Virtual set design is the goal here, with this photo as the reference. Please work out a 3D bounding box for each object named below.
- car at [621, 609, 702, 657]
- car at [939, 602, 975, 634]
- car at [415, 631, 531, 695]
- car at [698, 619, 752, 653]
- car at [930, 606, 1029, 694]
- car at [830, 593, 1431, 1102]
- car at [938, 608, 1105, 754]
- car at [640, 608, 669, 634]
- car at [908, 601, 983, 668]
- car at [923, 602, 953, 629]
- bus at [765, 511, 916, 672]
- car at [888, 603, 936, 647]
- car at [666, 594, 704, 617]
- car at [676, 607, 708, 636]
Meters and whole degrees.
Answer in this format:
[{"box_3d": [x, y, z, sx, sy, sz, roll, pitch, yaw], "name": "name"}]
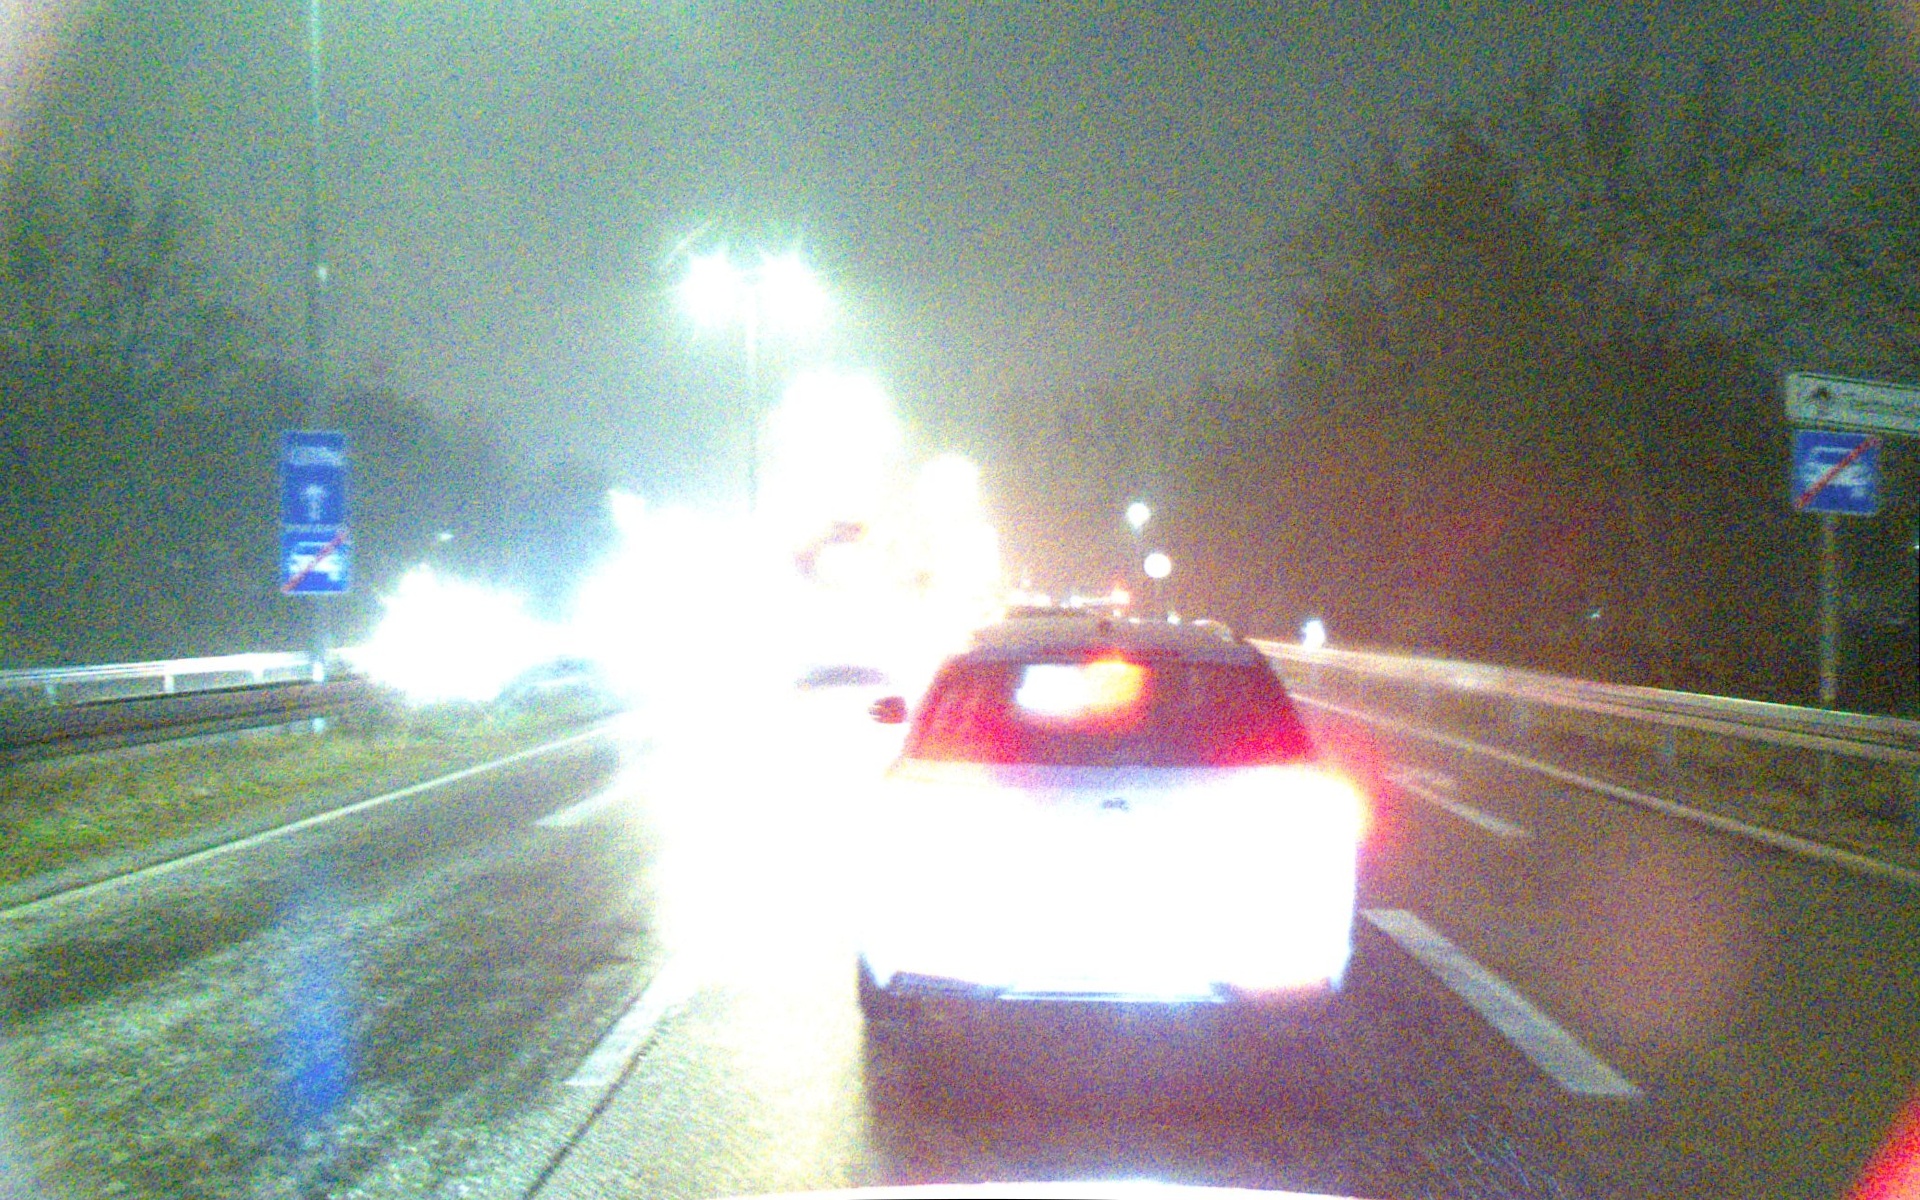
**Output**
[{"box_3d": [-9.244, 1.001, 51.602, 1.577, 1.406, 4.746, 0, 0, 1], "name": "car"}, {"box_3d": [-0.181, 0.912, 87.141, 1.783, 1.618, 3.775, -1, 0, -1], "name": "car"}, {"box_3d": [-12.372, 1.574, 42.258, 1.577, 1.406, 4.165, -3, 0, 1], "name": "car"}, {"box_3d": [-11.272, 1.710, 79.562, 1.817, 1.502, 4.779, -1, 0, 0], "name": "car"}, {"box_3d": [0.316, 0.911, 31.772, 1.704, 1.592, 3.775, 0, 0, -2], "name": "car"}, {"box_3d": [0.556, 0.746, 7.219, 1.784, 1.510, 4.568, 0, 0, 1], "name": "car"}, {"box_3d": [0.609, 0.840, 19.263, 1.696, 1.474, 4.724, 0, 0, -1], "name": "car"}, {"box_3d": [-24.976, 1.695, 135.328, 1.955, 2.049, 3.995, 1, -1, -5], "name": "car"}, {"box_3d": [-0.415, 0.848, 42.527, 1.783, 1.618, 3.775, -1, 0, -2], "name": "car"}, {"box_3d": [-1.353, 0.935, 100.930, 1.783, 1.618, 3.775, -1, 0, -1], "name": "car"}, {"box_3d": [-2.386, -0.147, 35.830, 2.758, 3.077, 8.685, 0, 0, -1], "name": "bus"}, {"box_3d": [-1.807, 0.920, 62.470, 1.743, 1.570, 3.874, 0, 0, -1], "name": "car"}, {"box_3d": [-26.192, 0.529, 157.444, 1.977, 2.049, 3.949, 1, -1, -36], "name": "car"}, {"box_3d": [-18.885, 1.517, 116.666, 1.955, 2.049, 3.995, 1, -1, -5], "name": "car"}]
